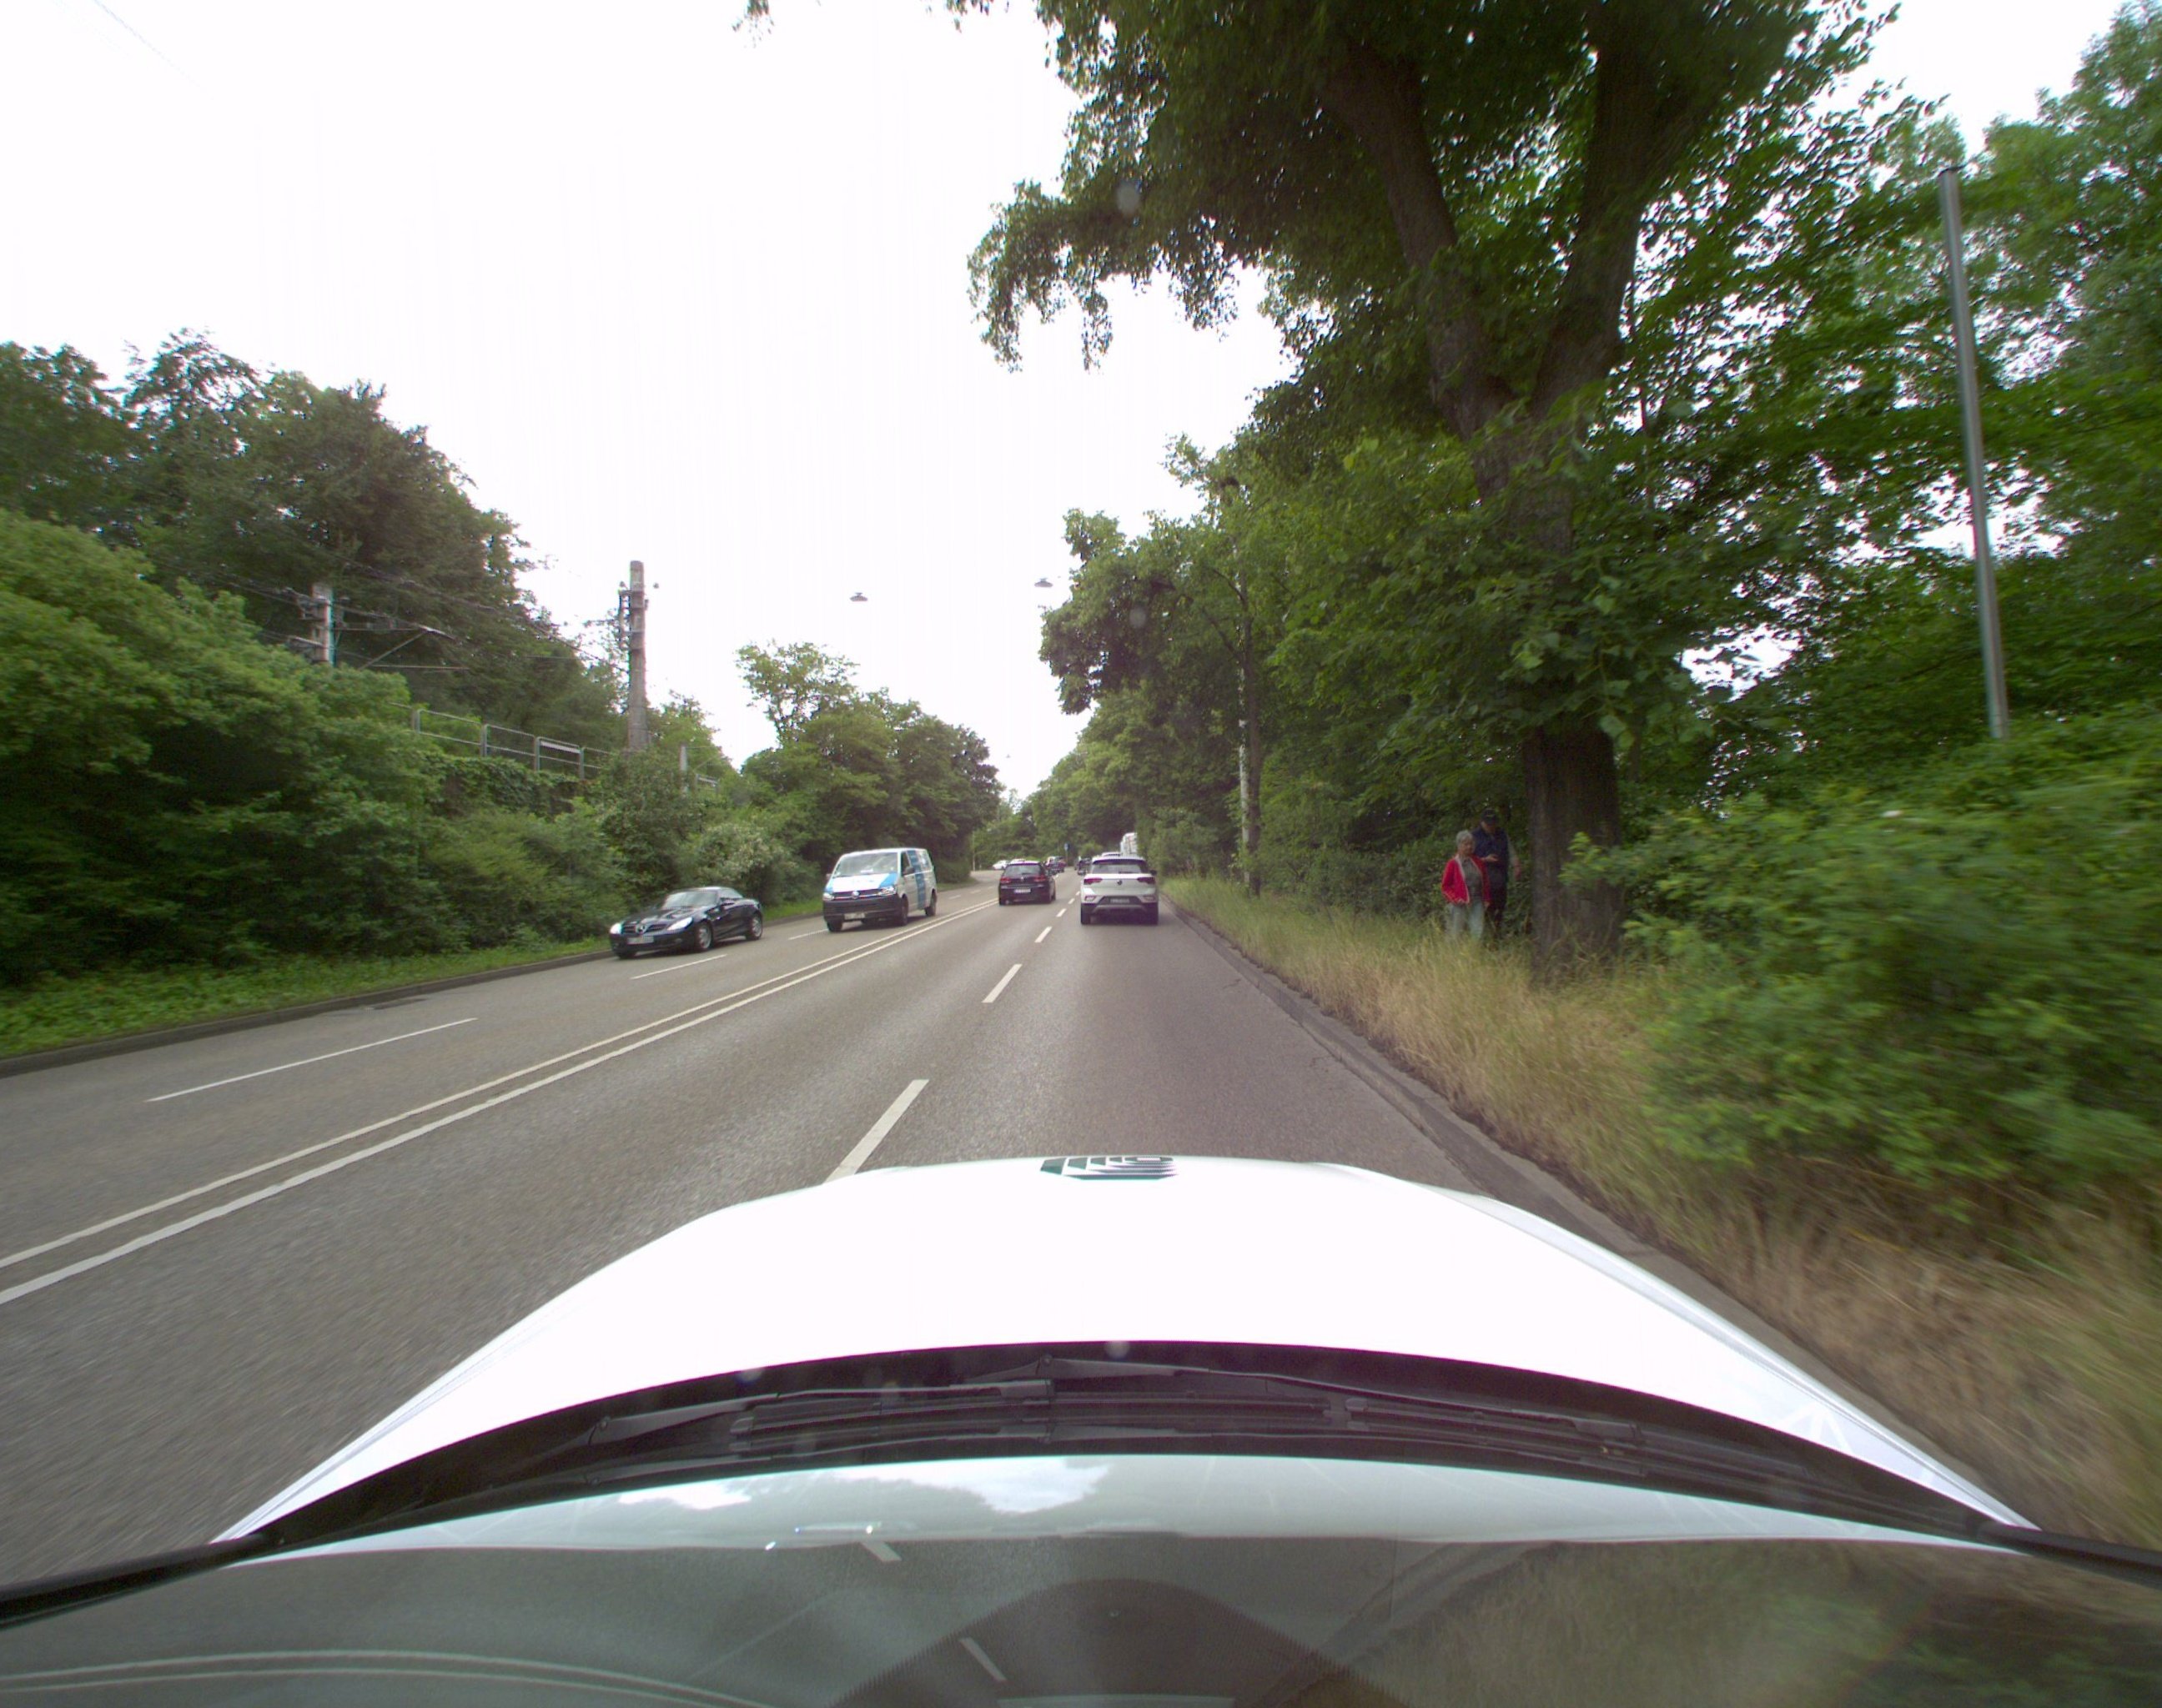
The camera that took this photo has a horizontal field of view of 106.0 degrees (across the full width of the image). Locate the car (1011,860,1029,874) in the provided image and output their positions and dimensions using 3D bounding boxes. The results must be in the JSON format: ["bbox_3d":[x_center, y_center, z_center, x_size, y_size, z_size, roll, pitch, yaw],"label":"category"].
[{"bbox_3d":[-7.304,1.500,97.796,1.815,1.623,4.002,-1,-1,2],"label":"car"}]

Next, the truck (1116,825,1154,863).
[{"bbox_3d":[4.947,-0.829,75.572,2.477,3.182,7.219,4,-1,-3],"label":"truck"}]

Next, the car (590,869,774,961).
[{"bbox_3d":[-8.328,1.194,17.467,1.730,1.596,4.070,-4,-1,2],"label":"car"}]

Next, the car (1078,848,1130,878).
[{"bbox_3d":[1.388,0.576,51.568,1.858,1.702,3.973,-5,1,-20],"label":"car"}]

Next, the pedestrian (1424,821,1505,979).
[{"bbox_3d":[4.241,0.497,9.041,0.607,1.698,0.548,-1,-1,-2],"label":"pedestrian"}]

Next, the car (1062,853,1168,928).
[{"bbox_3d":[0.707,0.814,19.694,1.998,1.596,3.991,-1,-1,-6],"label":"car"}]

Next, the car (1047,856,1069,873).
[{"bbox_3d":[-2.296,1.027,81.953,1.986,1.592,4.002,-1,-1,2],"label":"car"}]

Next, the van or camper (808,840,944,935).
[{"bbox_3d":[-5.181,0.803,21.479,1.987,2.013,5.368,-5,-1,1],"label":"van or camper"}]

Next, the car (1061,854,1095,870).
[{"bbox_3d":[-0.359,0.826,84.289,1.777,1.607,3.960,0,-1,-31],"label":"car"}]

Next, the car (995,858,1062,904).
[{"bbox_3d":[-1.766,0.911,28.533,1.942,1.466,4.002,-1,-1,2],"label":"car"}]

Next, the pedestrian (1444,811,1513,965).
[{"bbox_3d":[4.685,0.392,9.610,0.518,1.753,0.524,-1,-1,-2],"label":"pedestrian"}]
